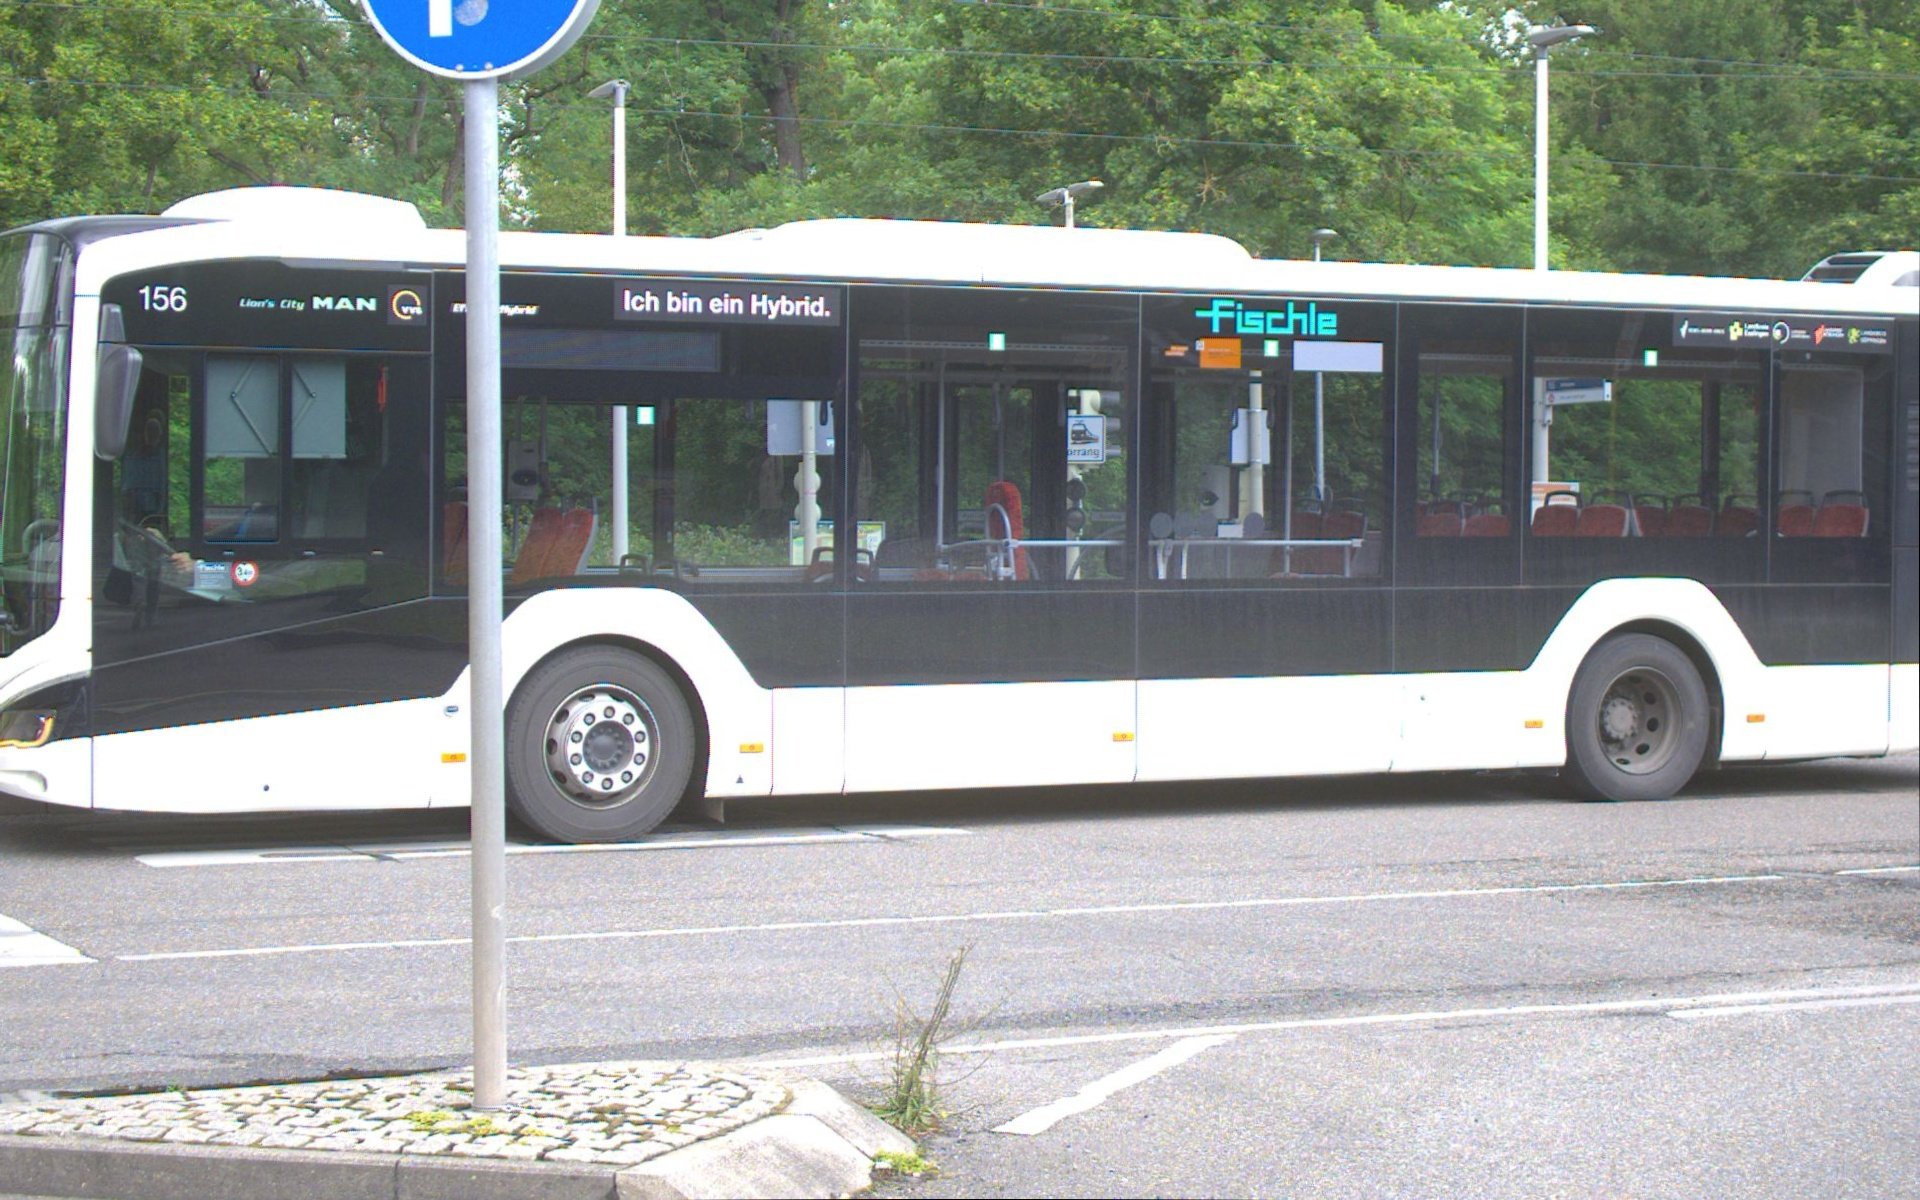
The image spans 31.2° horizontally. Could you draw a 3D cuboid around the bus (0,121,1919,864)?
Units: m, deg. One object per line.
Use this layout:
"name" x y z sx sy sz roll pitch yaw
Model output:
"bus" 0.750 -0.501 18.597 12.157 3.192 2.675 0 1 -26
